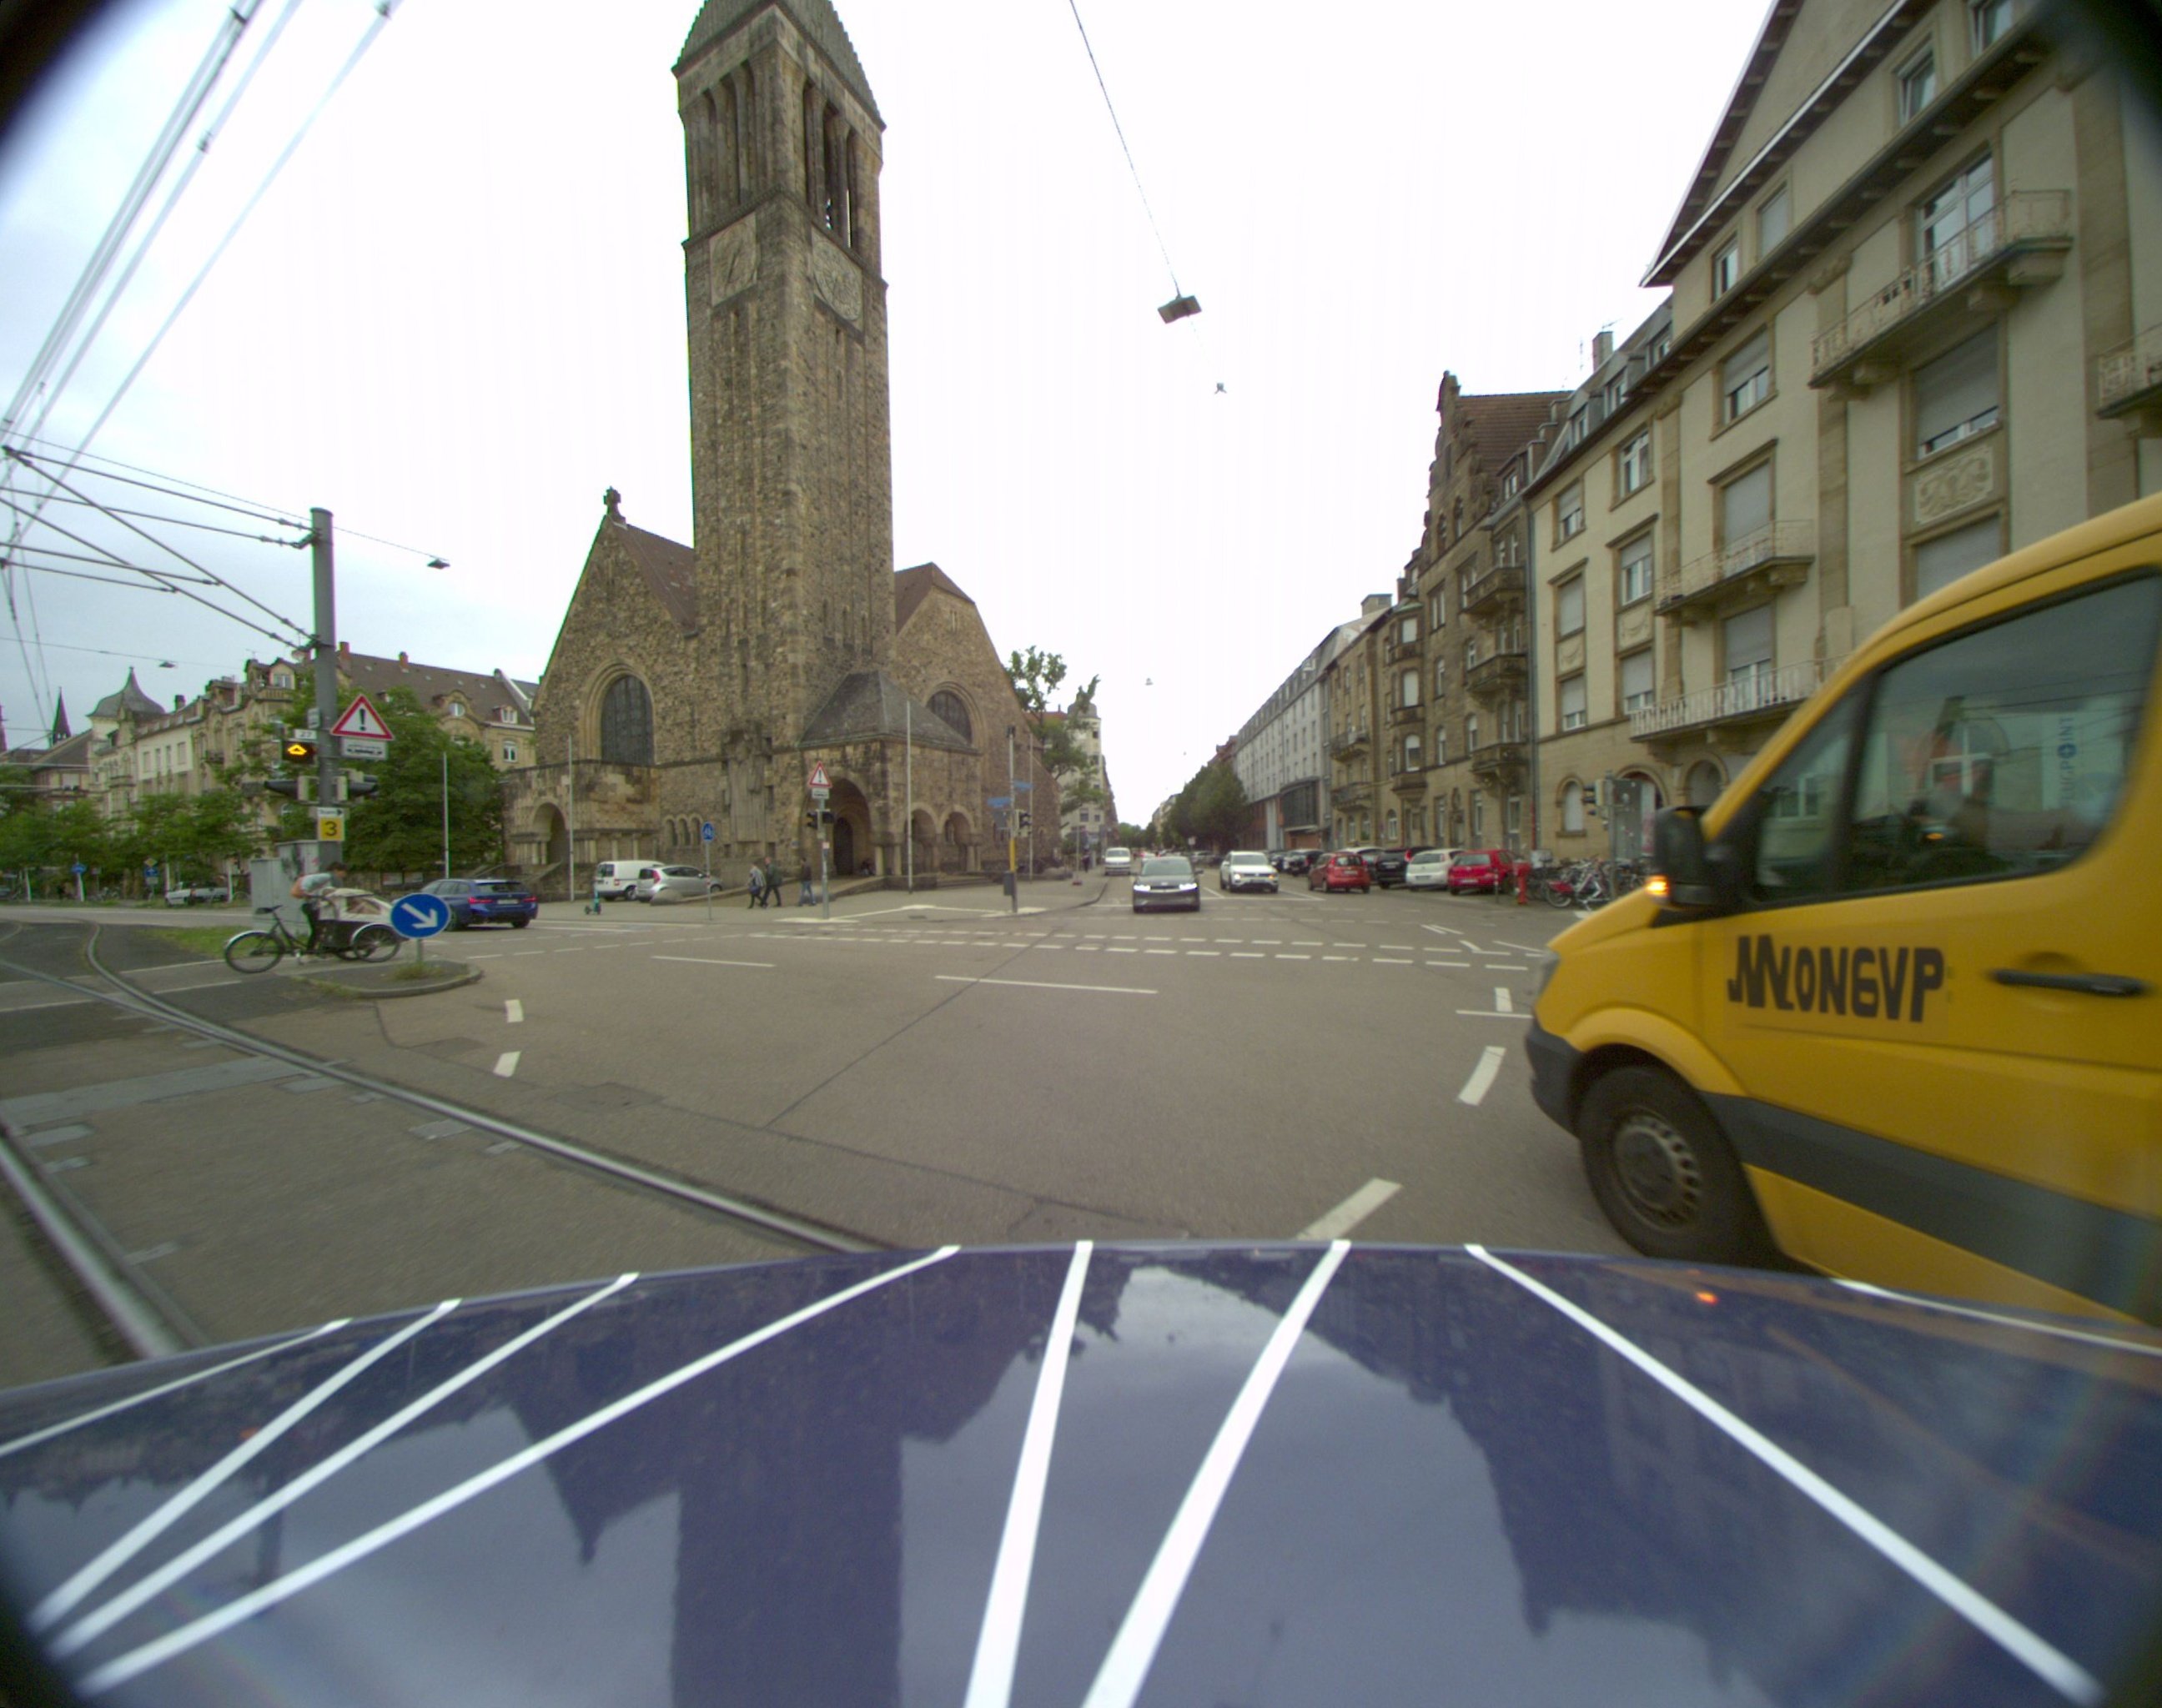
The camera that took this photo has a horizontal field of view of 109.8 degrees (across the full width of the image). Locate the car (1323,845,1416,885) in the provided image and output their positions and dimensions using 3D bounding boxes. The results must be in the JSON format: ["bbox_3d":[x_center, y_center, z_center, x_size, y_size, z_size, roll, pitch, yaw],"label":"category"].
[{"bbox_3d":[14.221,0.529,37.438,4.003,1.714,1.838,-3,1,-20],"label":"car"}]

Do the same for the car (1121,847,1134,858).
[{"bbox_3d":[6.670,-0.185,108.625,1.819,1.556,4.001,-1,0,4],"label":"car"}]

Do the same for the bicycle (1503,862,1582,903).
[{"bbox_3d":[13.528,0.838,22.320,1.890,1.029,0.442,-6,0,7],"label":"bicycle"}]

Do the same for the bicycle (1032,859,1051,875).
[{"bbox_3d":[-2.847,0.907,54.928,1.340,1.140,0.311,-1,1,26],"label":"bicycle"}]

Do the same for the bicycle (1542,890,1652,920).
[{"bbox_3d":[12.305,1.211,18.173,1.891,0.442,1.029,-7,-1,3],"label":"bicycle"}]

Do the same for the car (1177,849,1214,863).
[{"bbox_3d":[14.169,0.221,93.819,4.003,1.619,1.997,-1,1,-19],"label":"car"}]

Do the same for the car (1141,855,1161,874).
[{"bbox_3d":[7.342,1.072,79.927,1.831,1.762,4.000,-2,1,3],"label":"car"}]

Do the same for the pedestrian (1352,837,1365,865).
[{"bbox_3d":[18.421,-0.196,50.416,0.621,1.812,0.642,-1,1,4],"label":"pedestrian"}]

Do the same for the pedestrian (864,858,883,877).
[{"bbox_3d":[-10.618,0.691,38.946,0.672,0.946,0.616,-1,1,26],"label":"pedestrian"}]

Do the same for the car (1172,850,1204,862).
[{"bbox_3d":[14.947,0.289,106.382,4.003,1.488,1.735,-1,1,-19],"label":"car"}]

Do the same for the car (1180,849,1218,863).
[{"bbox_3d":[14.183,0.253,91.042,4.003,1.619,1.997,-1,1,-19],"label":"car"}]

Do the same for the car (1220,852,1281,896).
[{"bbox_3d":[6.819,0.742,30.930,1.910,1.597,4.252,-1,1,6],"label":"car"}]

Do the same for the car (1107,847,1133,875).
[{"bbox_3d":[2.874,0.454,55.731,1.809,1.909,5.164,-1,0,3],"label":"car"}]

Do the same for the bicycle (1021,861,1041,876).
[{"bbox_3d":[-3.518,1.043,53.677,1.380,1.054,0.311,-1,1,26],"label":"bicycle"}]

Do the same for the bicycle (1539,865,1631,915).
[{"bbox_3d":[12.704,0.899,19.179,1.891,1.029,0.442,-7,0,2],"label":"bicycle"}]

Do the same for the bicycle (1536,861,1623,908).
[{"bbox_3d":[13.318,0.822,20.316,1.891,1.029,0.442,-7,0,2],"label":"bicycle"}]

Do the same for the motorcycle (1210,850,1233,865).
[{"bbox_3d":[13.938,0.357,75.192,2.123,1.345,0.599,-3,1,5],"label":"motorcycle"}]

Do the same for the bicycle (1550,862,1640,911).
[{"bbox_3d":[13.307,0.844,19.679,1.891,1.029,0.442,-7,0,2],"label":"bicycle"}]

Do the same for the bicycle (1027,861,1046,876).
[{"bbox_3d":[-3.160,1.023,54.230,1.340,1.054,0.311,-1,1,26],"label":"bicycle"}]

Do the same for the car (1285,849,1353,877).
[{"bbox_3d":[14.429,0.511,46.062,4.005,1.409,1.657,-4,2,-31],"label":"car"}]

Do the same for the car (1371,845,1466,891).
[{"bbox_3d":[13.791,0.526,30.975,4.233,1.642,1.727,-3,1,-38],"label":"car"}]

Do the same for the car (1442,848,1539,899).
[{"bbox_3d":[13.767,0.626,25.460,4.007,1.464,1.679,-3,0,-44],"label":"car"}]

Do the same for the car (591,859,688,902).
[{"bbox_3d":[-20.319,1.159,35.089,1.682,1.783,3.473,-1,1,30],"label":"car"}]

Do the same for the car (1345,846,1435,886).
[{"bbox_3d":[14.024,0.539,34.399,4.006,1.486,1.728,-4,1,-33],"label":"car"}]

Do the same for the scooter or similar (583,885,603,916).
[{"bbox_3d":[-17.296,1.636,26.908,0.771,1.047,0.240,-1,1,30],"label":"scooter or similar"}]

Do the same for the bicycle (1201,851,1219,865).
[{"bbox_3d":[13.117,0.410,77.287,1.629,1.282,0.416,-3,1,3],"label":"bicycle"}]

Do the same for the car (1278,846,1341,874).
[{"bbox_3d":[14.968,0.358,49.616,4.006,1.545,1.699,-4,1,-34],"label":"car"}]

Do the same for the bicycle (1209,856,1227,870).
[{"bbox_3d":[13.807,0.874,76.536,1.629,1.345,0.416,-3,1,3],"label":"bicycle"}]

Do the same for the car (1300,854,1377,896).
[{"bbox_3d":[10.153,0.768,30.287,1.736,1.516,4.000,-1,0,1],"label":"car"}]

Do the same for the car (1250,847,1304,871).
[{"bbox_3d":[14.959,0.377,58.028,4.006,1.545,1.729,-4,1,-35],"label":"car"}]

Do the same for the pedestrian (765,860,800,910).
[{"bbox_3d":[-10.634,1.088,27.104,0.806,1.748,0.969,1,1,4],"label":"pedestrian"}]

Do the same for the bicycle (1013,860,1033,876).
[{"bbox_3d":[-4.001,0.967,52.403,1.380,1.054,0.311,-1,1,26],"label":"bicycle"}]

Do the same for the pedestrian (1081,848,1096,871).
[{"bbox_3d":[0.599,0.431,59.642,0.814,1.799,1.021,-1,3,25],"label":"pedestrian"}]

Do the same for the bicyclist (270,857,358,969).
[{"bbox_3d":[-11.830,0.878,11.733,0.614,1.644,0.755,-1,1,26],"label":"bicyclist"}]

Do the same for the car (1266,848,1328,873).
[{"bbox_3d":[14.848,0.439,52.261,3.753,1.437,1.820,-4,1,-26],"label":"car"}]

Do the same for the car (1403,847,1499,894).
[{"bbox_3d":[13.865,0.590,28.405,4.006,1.464,1.560,-4,1,-38],"label":"car"}]

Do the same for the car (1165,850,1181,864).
[{"bbox_3d":[10.289,0.328,85.271,1.653,1.439,3.512,-1,0,4],"label":"car"}]

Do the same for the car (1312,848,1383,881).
[{"bbox_3d":[14.271,0.547,40.576,3.818,1.489,1.566,-4,2,-34],"label":"car"}]

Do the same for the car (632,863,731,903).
[{"bbox_3d":[-17.427,1.223,33.306,1.614,1.521,3.473,-1,1,30],"label":"car"}]

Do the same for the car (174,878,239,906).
[{"bbox_3d":[-51.035,2.178,44.344,3.458,1.521,1.690,-1,1,27],"label":"car"}]

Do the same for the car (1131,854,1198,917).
[{"bbox_3d":[2.457,0.885,22.959,1.819,1.675,4.001,-1,0,4],"label":"car"}]

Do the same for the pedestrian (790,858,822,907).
[{"bbox_3d":[-9.665,1.000,26.730,0.676,1.676,0.969,1,1,4],"label":"pedestrian"}]

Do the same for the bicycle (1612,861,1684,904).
[{"bbox_3d":[14.776,0.727,19.866,0.503,1.022,1.997,-1,0,5],"label":"bicycle"}]

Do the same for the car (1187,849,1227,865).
[{"bbox_3d":[14.120,0.316,85.155,4.003,1.619,1.769,-1,1,-19],"label":"car"}]

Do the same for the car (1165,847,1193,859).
[{"bbox_3d":[16.258,-0.127,126.002,4.003,1.898,1.997,-1,1,-19],"label":"car"}]

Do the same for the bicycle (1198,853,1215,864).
[{"bbox_3d":[13.423,0.482,81.345,1.629,1.067,0.416,-3,1,3],"label":"bicycle"}]

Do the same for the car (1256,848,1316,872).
[{"bbox_3d":[14.862,0.422,54.966,4.005,1.430,1.730,-4,1,-28],"label":"car"}]

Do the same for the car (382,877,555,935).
[{"bbox_3d":[-16.960,1.383,21.032,4.310,1.397,1.824,-1,1,22],"label":"car"}]

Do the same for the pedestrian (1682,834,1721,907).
[{"bbox_3d":[16.820,0.440,20.606,0.620,1.947,0.551,-1,1,5],"label":"pedestrian"}]

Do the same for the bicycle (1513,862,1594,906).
[{"bbox_3d":[13.377,0.849,21.513,1.891,1.029,0.442,-7,0,2],"label":"bicycle"}]

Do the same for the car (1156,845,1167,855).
[{"bbox_3d":[13.880,-0.668,131.341,1.697,1.793,4.129,-1,0,2],"label":"car"}]

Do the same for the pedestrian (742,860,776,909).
[{"bbox_3d":[-11.103,1.035,26.241,0.634,1.663,0.970,1,1,11],"label":"pedestrian"}]

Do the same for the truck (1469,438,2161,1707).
[{"bbox_3d":[3.025,0.441,0.887,2.081,2.394,5.460,-1,0,-4],"label":"truck"}]

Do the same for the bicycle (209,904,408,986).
[{"bbox_3d":[-11.827,1.347,11.738,0.551,0.990,2.064,-1,1,27],"label":"bicycle"}]

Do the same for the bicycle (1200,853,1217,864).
[{"bbox_3d":[13.579,0.483,80.843,1.629,1.067,0.416,-3,1,3],"label":"bicycle"}]

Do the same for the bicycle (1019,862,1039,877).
[{"bbox_3d":[-3.658,1.068,53.070,1.380,1.054,0.311,-1,1,26],"label":"bicycle"}]

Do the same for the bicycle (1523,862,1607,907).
[{"bbox_3d":[13.350,0.837,20.978,1.891,1.029,0.442,-7,0,2],"label":"bicycle"}]
